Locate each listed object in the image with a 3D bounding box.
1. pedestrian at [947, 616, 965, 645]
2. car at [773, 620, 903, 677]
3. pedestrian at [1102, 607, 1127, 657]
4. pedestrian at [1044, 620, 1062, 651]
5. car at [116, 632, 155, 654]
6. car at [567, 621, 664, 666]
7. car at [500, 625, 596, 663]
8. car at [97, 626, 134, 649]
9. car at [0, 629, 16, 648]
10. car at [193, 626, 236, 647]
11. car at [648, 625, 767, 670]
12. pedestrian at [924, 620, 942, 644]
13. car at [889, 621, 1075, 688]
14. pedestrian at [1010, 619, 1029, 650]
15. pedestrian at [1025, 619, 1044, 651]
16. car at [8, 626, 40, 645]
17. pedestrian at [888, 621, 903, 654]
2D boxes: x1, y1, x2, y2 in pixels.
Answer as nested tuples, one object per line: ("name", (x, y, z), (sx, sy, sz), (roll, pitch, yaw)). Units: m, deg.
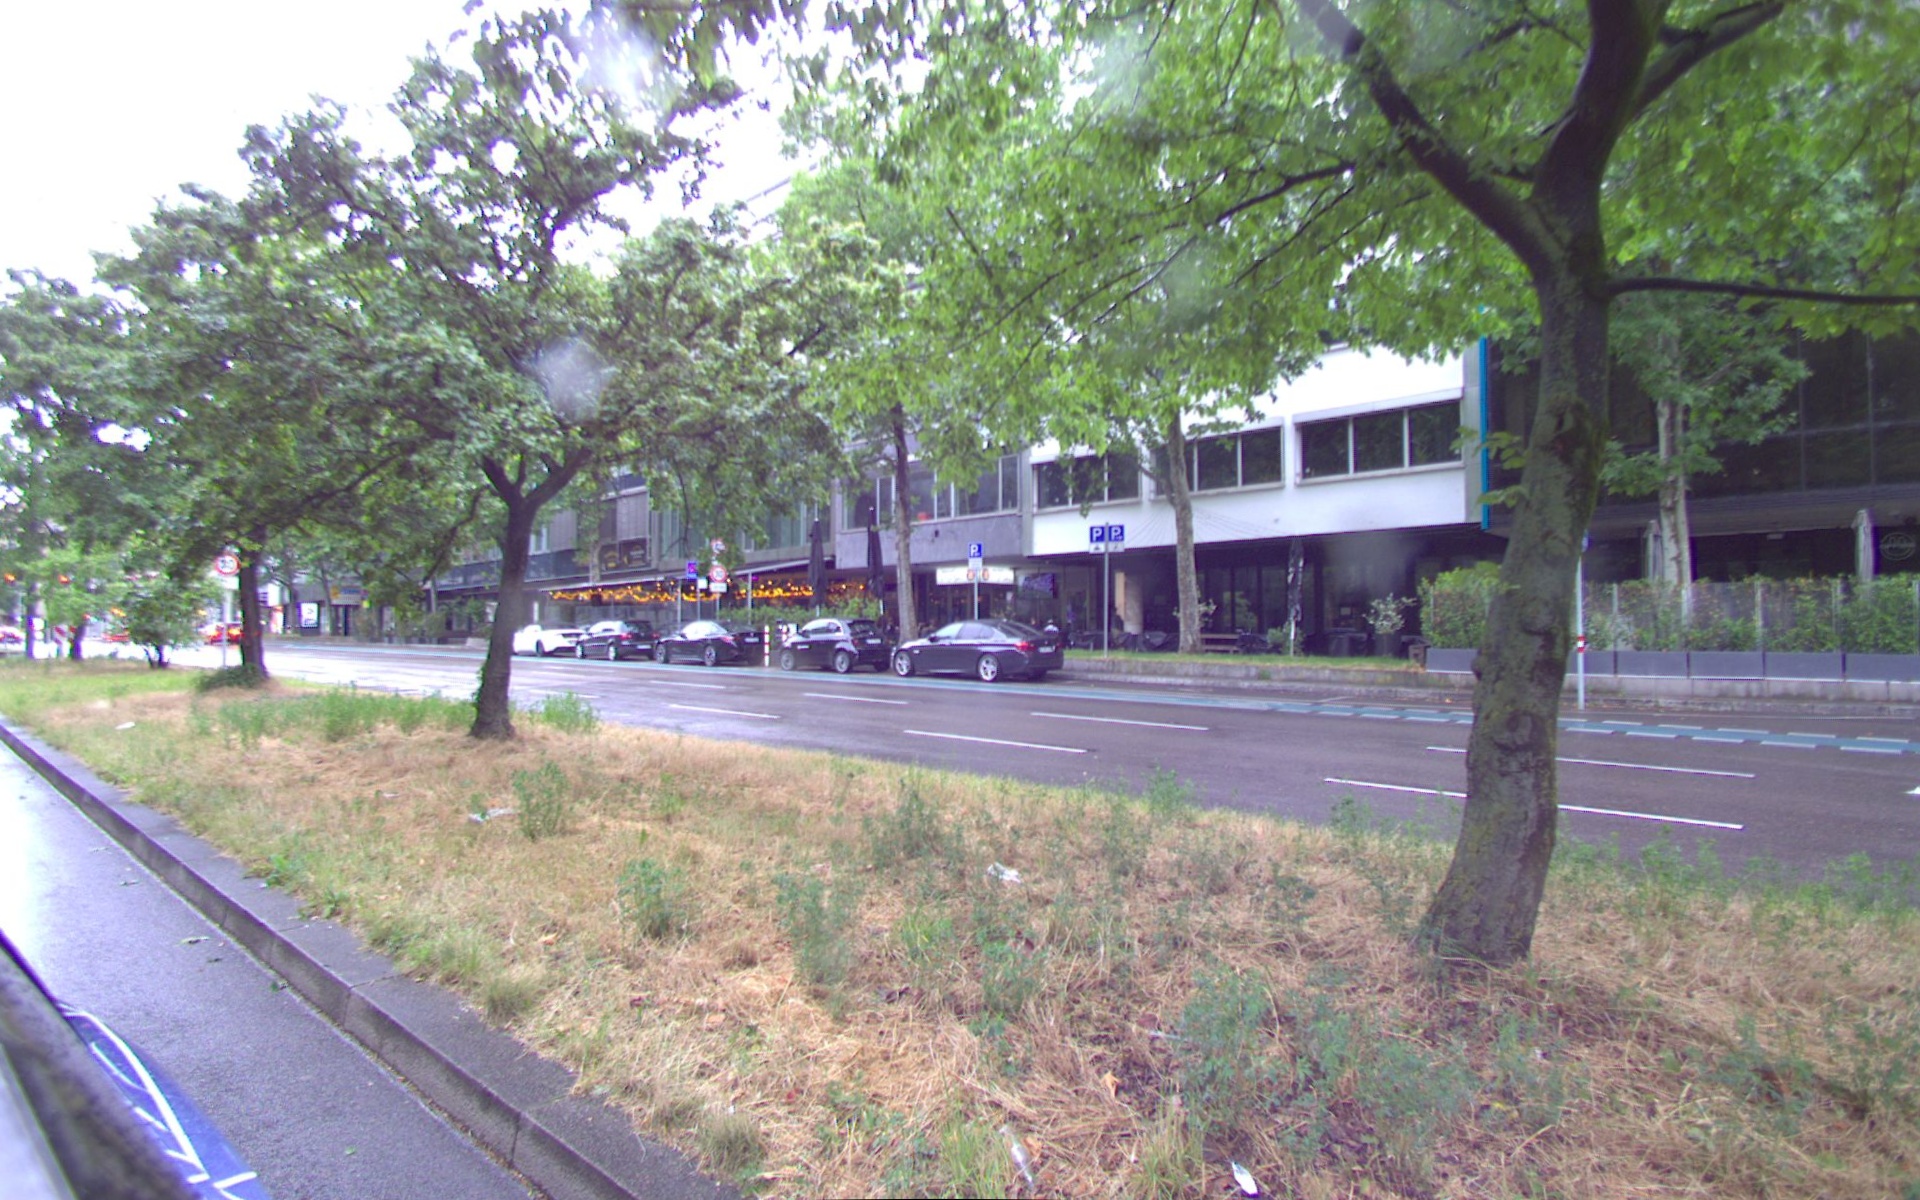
("pedestrian", (-0.136, 1.064, 35.483), (0.423, 1.024, 0.459), (-1, 0, 39))
("car", (-3.435, 1.299, 28.293), (3.400, 1.433, 1.851), (0, 0, 42))
("pedestrian", (5.208, 1.066, 34.181), (0.623, 1.660, 0.598), (-1, 0, 37))
("pedestrian", (3.015, 1.146, 32.905), (0.451, 0.970, 0.454), (-1, 0, 26))
("car", (-63.652, 3.303, 78.111), (3.727, 1.586, 1.758), (0, 0, 41))
("car", (-12.468, 1.538, 36.563), (3.788, 1.464, 1.727), (0, 0, 42))
("car", (-16.497, 1.717, 40.388), (4.392, 1.336, 1.856), (0, 0, 42))
("car", (-71.948, 3.179, 86.170), (3.954, 1.799, 1.913), (0, 0, 42))
("car", (-78.737, 3.162, 82.867), (3.524, 1.400, 1.657), (0, 0, 39))
("car", (-52.511, 2.561, 71.226), (3.737, 1.335, 1.742), (0, 0, 42))
("car", (-8.151, 1.472, 32.446), (4.319, 1.249, 1.625), (0, 0, 44))
("pedestrian", (-0.971, 1.148, 36.444), (0.433, 0.856, 0.435), (-1, 0, 39))
("car", (0.453, 1.252, 24.729), (1.849, 1.396, 4.539), (-1, 0, -45))
("pedestrian", (1.968, 1.141, 33.483), (0.461, 1.000, 0.455), (-1, 0, 26))
("pedestrian", (2.454, 1.142, 33.199), (0.488, 1.008, 0.481), (-1, 0, 26))
("car", (-96.453, 3.673, 104.312), (3.997, 1.829, 1.973), (0, 0, 41))
("pedestrian", (-2.368, 1.370, 37.362), (0.461, 1.195, 0.444), (-1, 0, 7))
